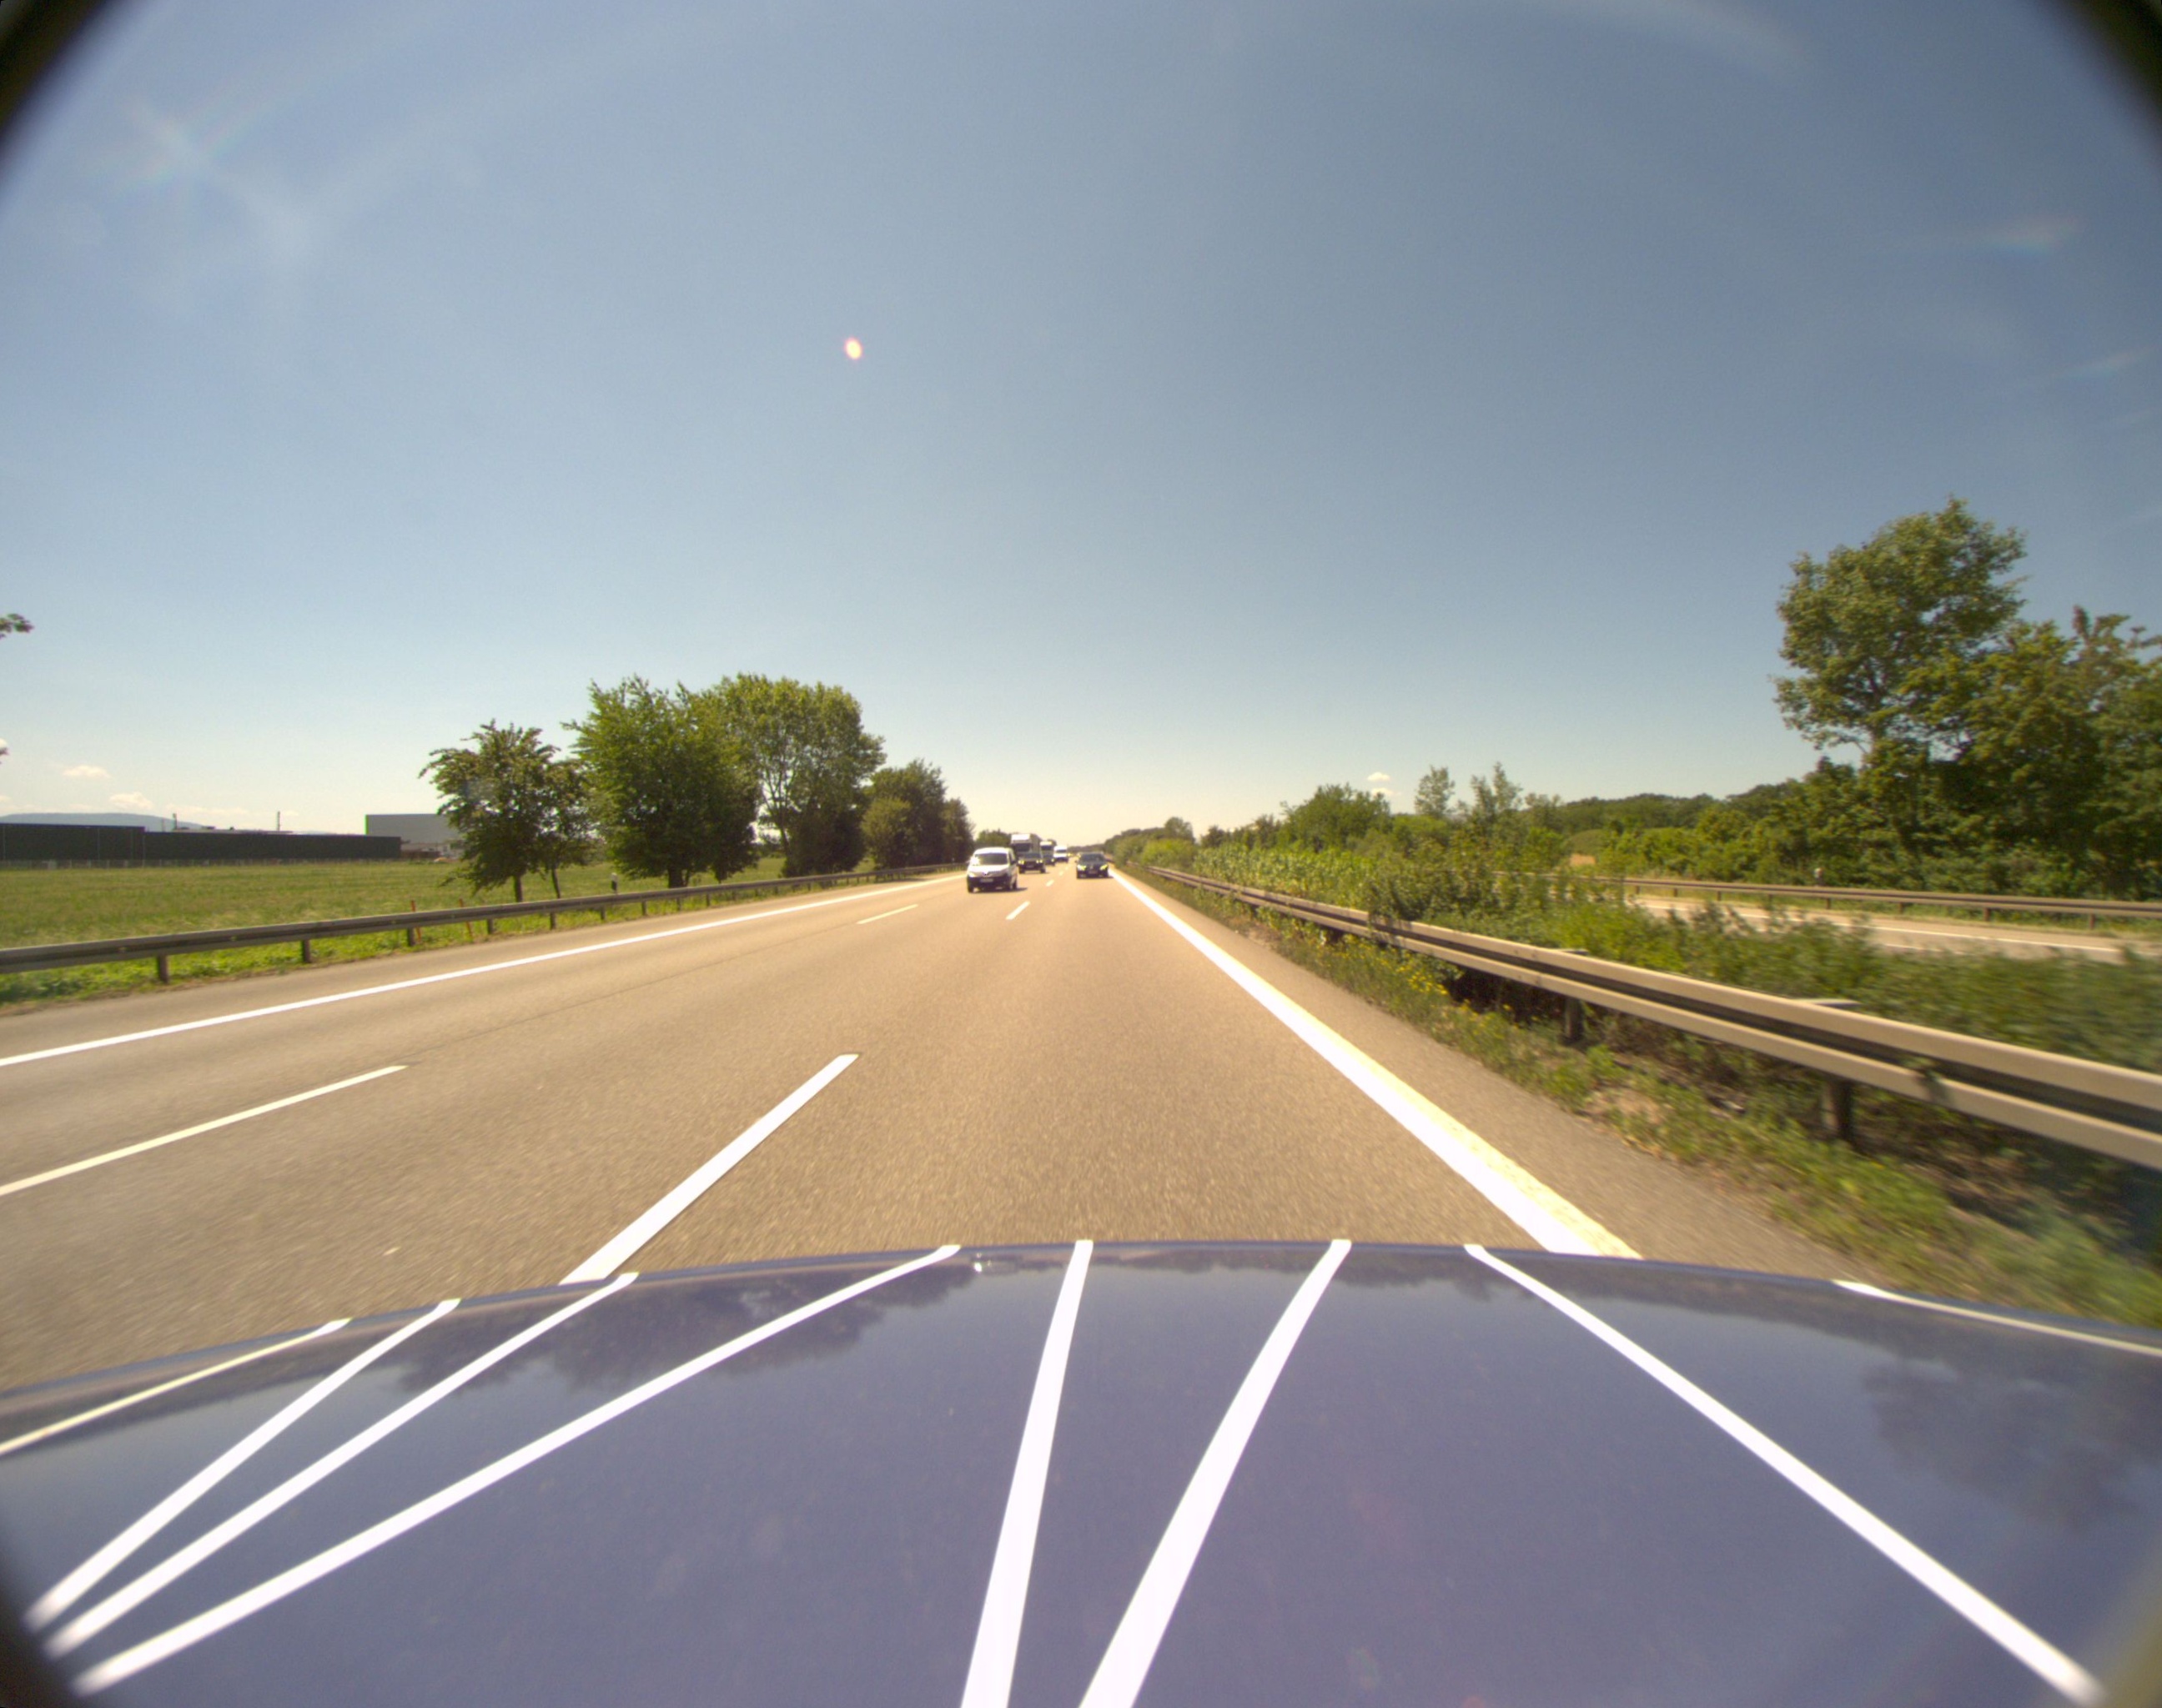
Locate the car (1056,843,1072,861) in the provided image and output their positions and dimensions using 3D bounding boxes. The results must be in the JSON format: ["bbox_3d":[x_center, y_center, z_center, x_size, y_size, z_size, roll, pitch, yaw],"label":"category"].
[{"bbox_3d":[-2.413,-0.330,110.948,2.159,2.494,5.945,-2,0,-1],"label":"car"}]

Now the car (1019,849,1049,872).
[{"bbox_3d":[-3.598,0.476,58.820,1.871,1.665,4.746,-2,0,2],"label":"car"}]

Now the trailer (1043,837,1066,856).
[{"bbox_3d":[-5.593,-1.601,163.695,2.698,3.943,13.967,-2,0,6],"label":"trailer"}]

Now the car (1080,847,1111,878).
[{"bbox_3d":[0.851,0.455,44.204,1.690,1.646,3.462,-2,0,1],"label":"car"}]

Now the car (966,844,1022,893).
[{"bbox_3d":[-3.648,0.572,32.487,1.858,1.852,4.701,-2,0,-1],"label":"car"}]

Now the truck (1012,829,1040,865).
[{"bbox_3d":[-6.877,-0.885,96.365,2.817,4.279,7.193,-2,0,1],"label":"truck"}]

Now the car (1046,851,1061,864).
[{"bbox_3d":[-3.094,0.401,86.216,1.692,1.465,3.432,-2,0,-1],"label":"car"}]

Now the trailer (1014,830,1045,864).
[{"bbox_3d":[-6.790,-0.918,102.733,2.817,4.279,14.253,-2,0,1],"label":"trailer"}]

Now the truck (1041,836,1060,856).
[{"bbox_3d":[-6.233,-1.578,157.715,2.698,3.943,7.706,-2,0,6],"label":"truck"}]
